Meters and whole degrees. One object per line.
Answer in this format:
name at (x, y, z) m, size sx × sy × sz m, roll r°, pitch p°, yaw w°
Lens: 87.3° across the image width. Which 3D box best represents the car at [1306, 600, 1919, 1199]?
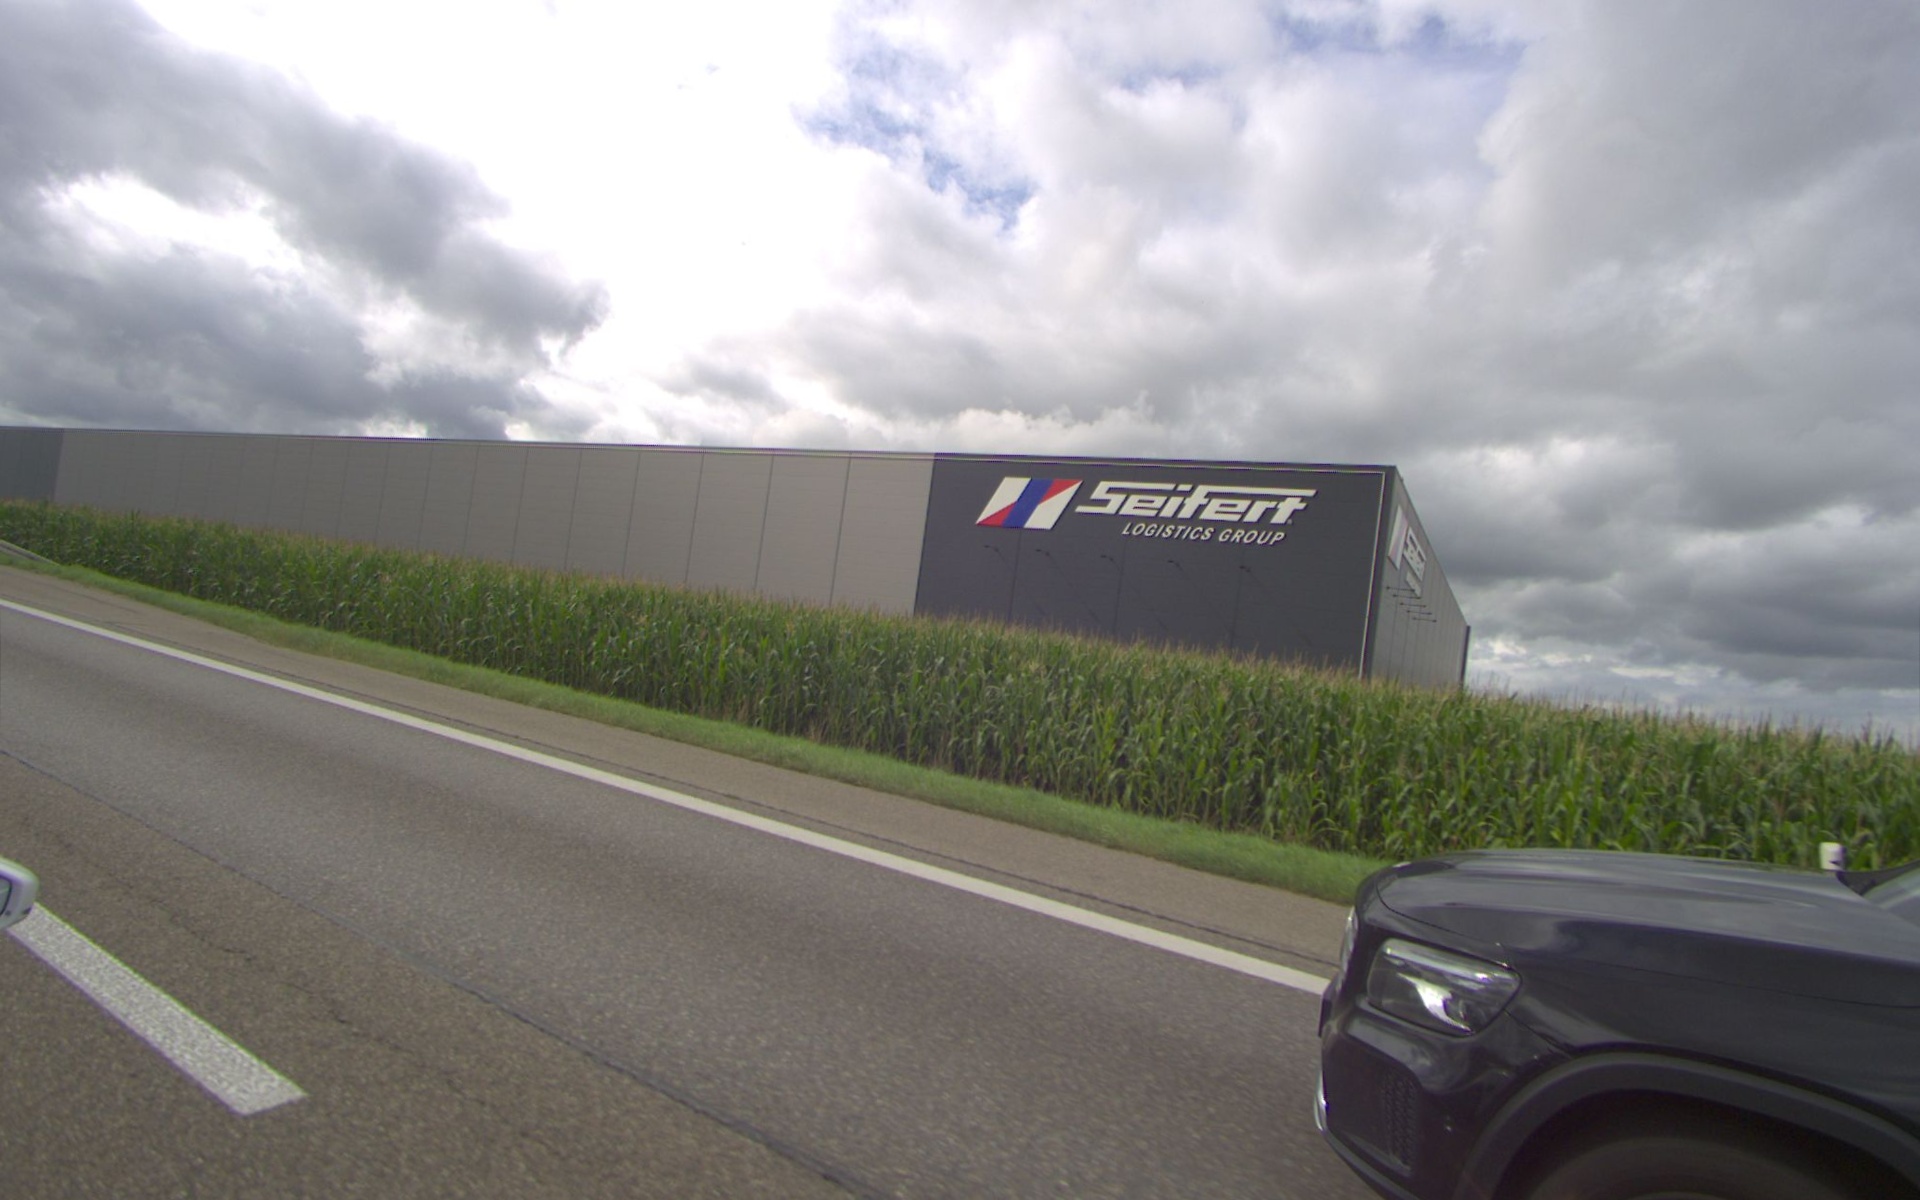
car at (3.127, 1.093, 1.939) m, size 4.288 × 1.628 × 1.836 m, roll 6°, pitch -1°, yaw 32°
